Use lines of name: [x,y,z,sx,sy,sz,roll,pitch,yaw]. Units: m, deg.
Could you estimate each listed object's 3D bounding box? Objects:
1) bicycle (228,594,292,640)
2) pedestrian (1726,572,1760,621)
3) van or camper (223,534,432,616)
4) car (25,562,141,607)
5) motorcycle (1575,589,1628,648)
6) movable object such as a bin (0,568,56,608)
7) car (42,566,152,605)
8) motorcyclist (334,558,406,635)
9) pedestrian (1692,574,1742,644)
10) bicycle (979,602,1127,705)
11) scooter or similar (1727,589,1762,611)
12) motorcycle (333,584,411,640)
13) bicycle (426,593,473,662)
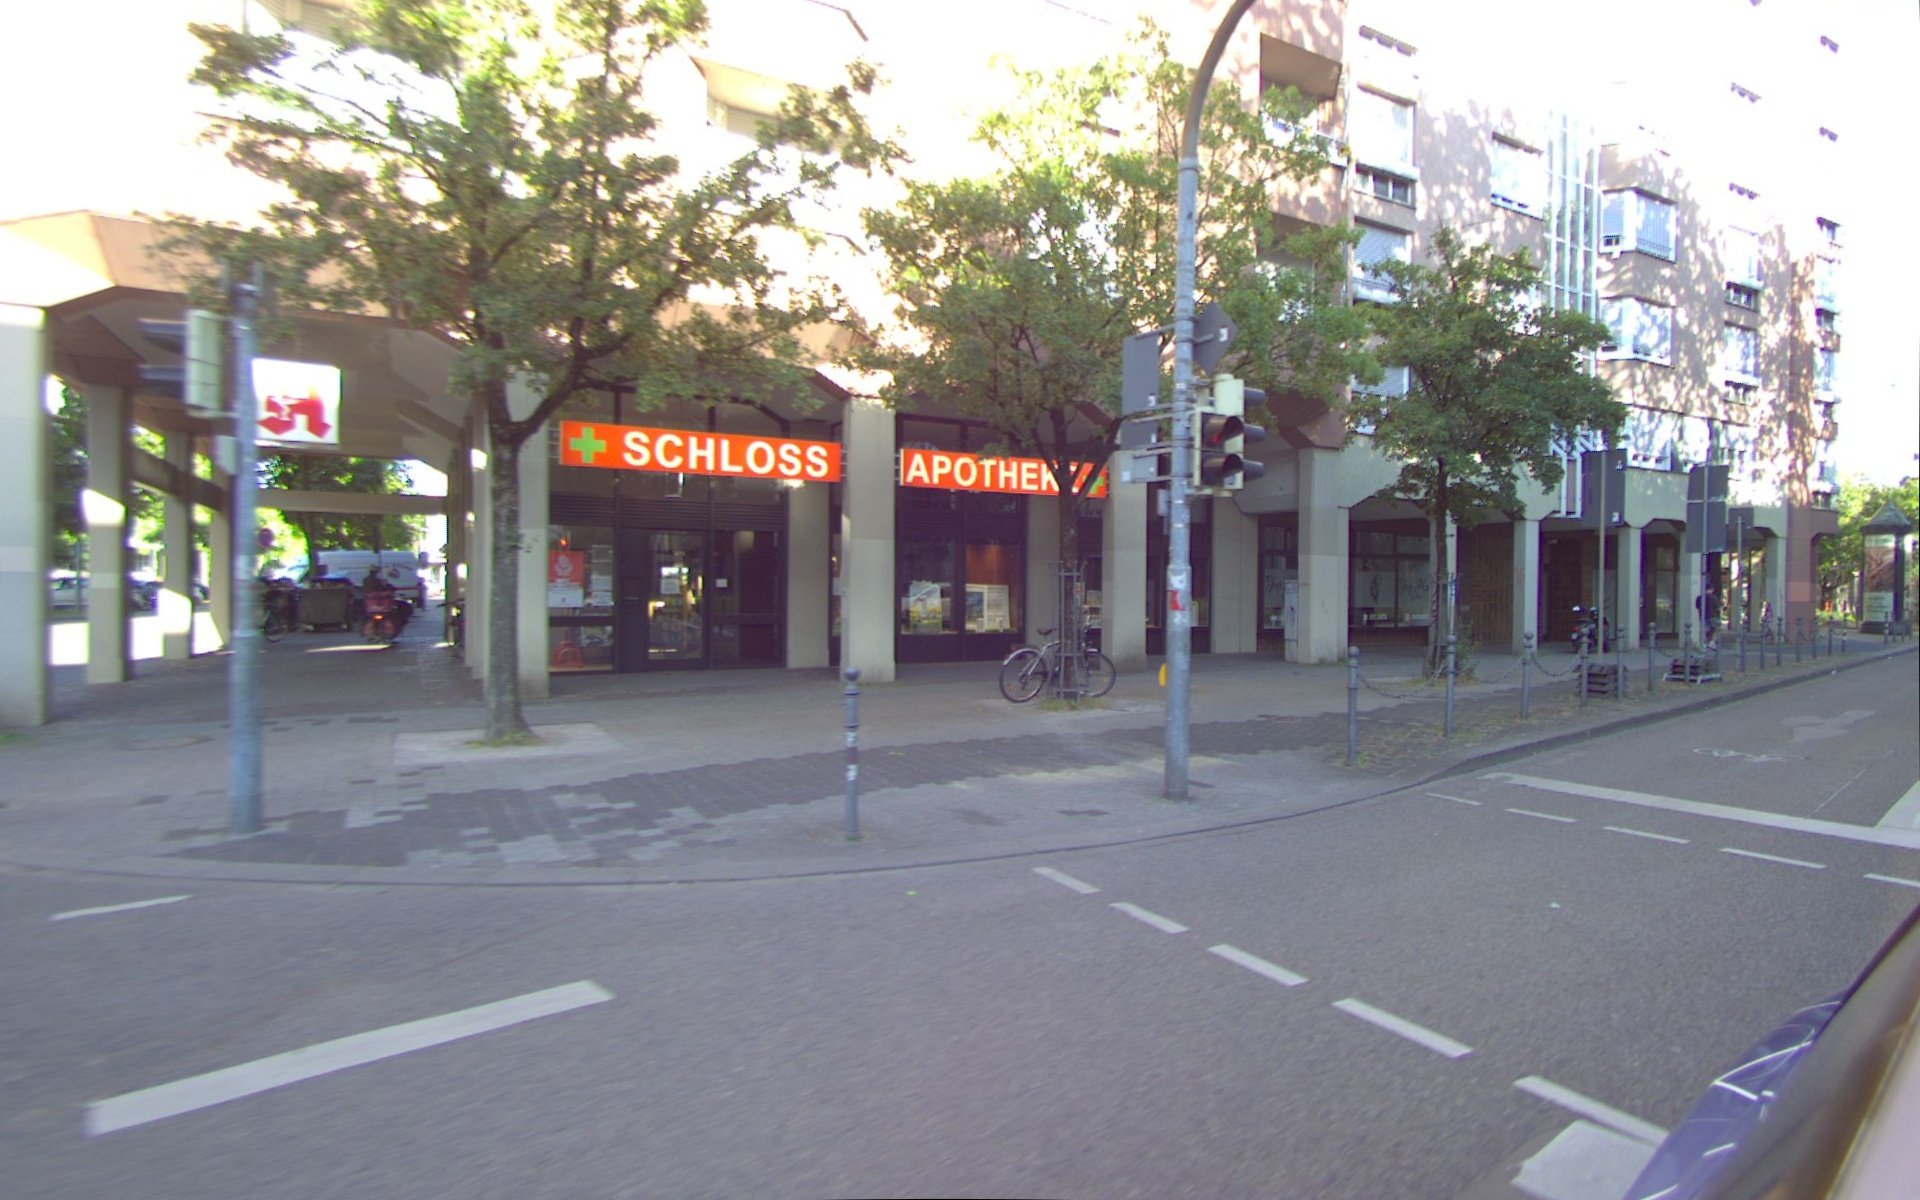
bicycle: [-16.511,0.377,23.904,0.600,1.032,1.318,0,1,-1]
pedestrian: [32.176,-0.146,41.608,0.837,2.006,0.814,0,0,17]
van or camper: [-23.602,-0.931,38.125,2.339,2.801,6.384,1,1,31]
car: [-40.368,-0.713,46.670,3.642,1.997,1.735,0,1,-19]
motorcycle: [15.732,0.428,24.788,2.053,1.389,0.489,0,1,-40]
movable object such as a bin: [-37.196,-0.467,39.700,2.114,1.518,1.734,-2,2,-24]
car: [-41.659,-0.713,48.959,3.642,1.829,1.735,0,1,-19]
motorcyclist: [-13.649,-0.095,23.417,1.310,1.710,1.174,-1,0,-36]
pedestrian: [19.596,0.215,26.205,0.820,1.760,0.784,0,1,-31]
bicycle: [1.225,0.662,13.198,1.887,1.241,0.624,0,1,-28]
scooter or similar: [43.144,0.000,55.669,0.548,1.160,1.460,0,1,-34]
motorcycle: [-13.675,0.237,23.491,1.324,1.193,2.828,0,1,-35]
bicycle: [-9.055,0.450,17.900,0.581,1.108,2.453,0,1,-31]
